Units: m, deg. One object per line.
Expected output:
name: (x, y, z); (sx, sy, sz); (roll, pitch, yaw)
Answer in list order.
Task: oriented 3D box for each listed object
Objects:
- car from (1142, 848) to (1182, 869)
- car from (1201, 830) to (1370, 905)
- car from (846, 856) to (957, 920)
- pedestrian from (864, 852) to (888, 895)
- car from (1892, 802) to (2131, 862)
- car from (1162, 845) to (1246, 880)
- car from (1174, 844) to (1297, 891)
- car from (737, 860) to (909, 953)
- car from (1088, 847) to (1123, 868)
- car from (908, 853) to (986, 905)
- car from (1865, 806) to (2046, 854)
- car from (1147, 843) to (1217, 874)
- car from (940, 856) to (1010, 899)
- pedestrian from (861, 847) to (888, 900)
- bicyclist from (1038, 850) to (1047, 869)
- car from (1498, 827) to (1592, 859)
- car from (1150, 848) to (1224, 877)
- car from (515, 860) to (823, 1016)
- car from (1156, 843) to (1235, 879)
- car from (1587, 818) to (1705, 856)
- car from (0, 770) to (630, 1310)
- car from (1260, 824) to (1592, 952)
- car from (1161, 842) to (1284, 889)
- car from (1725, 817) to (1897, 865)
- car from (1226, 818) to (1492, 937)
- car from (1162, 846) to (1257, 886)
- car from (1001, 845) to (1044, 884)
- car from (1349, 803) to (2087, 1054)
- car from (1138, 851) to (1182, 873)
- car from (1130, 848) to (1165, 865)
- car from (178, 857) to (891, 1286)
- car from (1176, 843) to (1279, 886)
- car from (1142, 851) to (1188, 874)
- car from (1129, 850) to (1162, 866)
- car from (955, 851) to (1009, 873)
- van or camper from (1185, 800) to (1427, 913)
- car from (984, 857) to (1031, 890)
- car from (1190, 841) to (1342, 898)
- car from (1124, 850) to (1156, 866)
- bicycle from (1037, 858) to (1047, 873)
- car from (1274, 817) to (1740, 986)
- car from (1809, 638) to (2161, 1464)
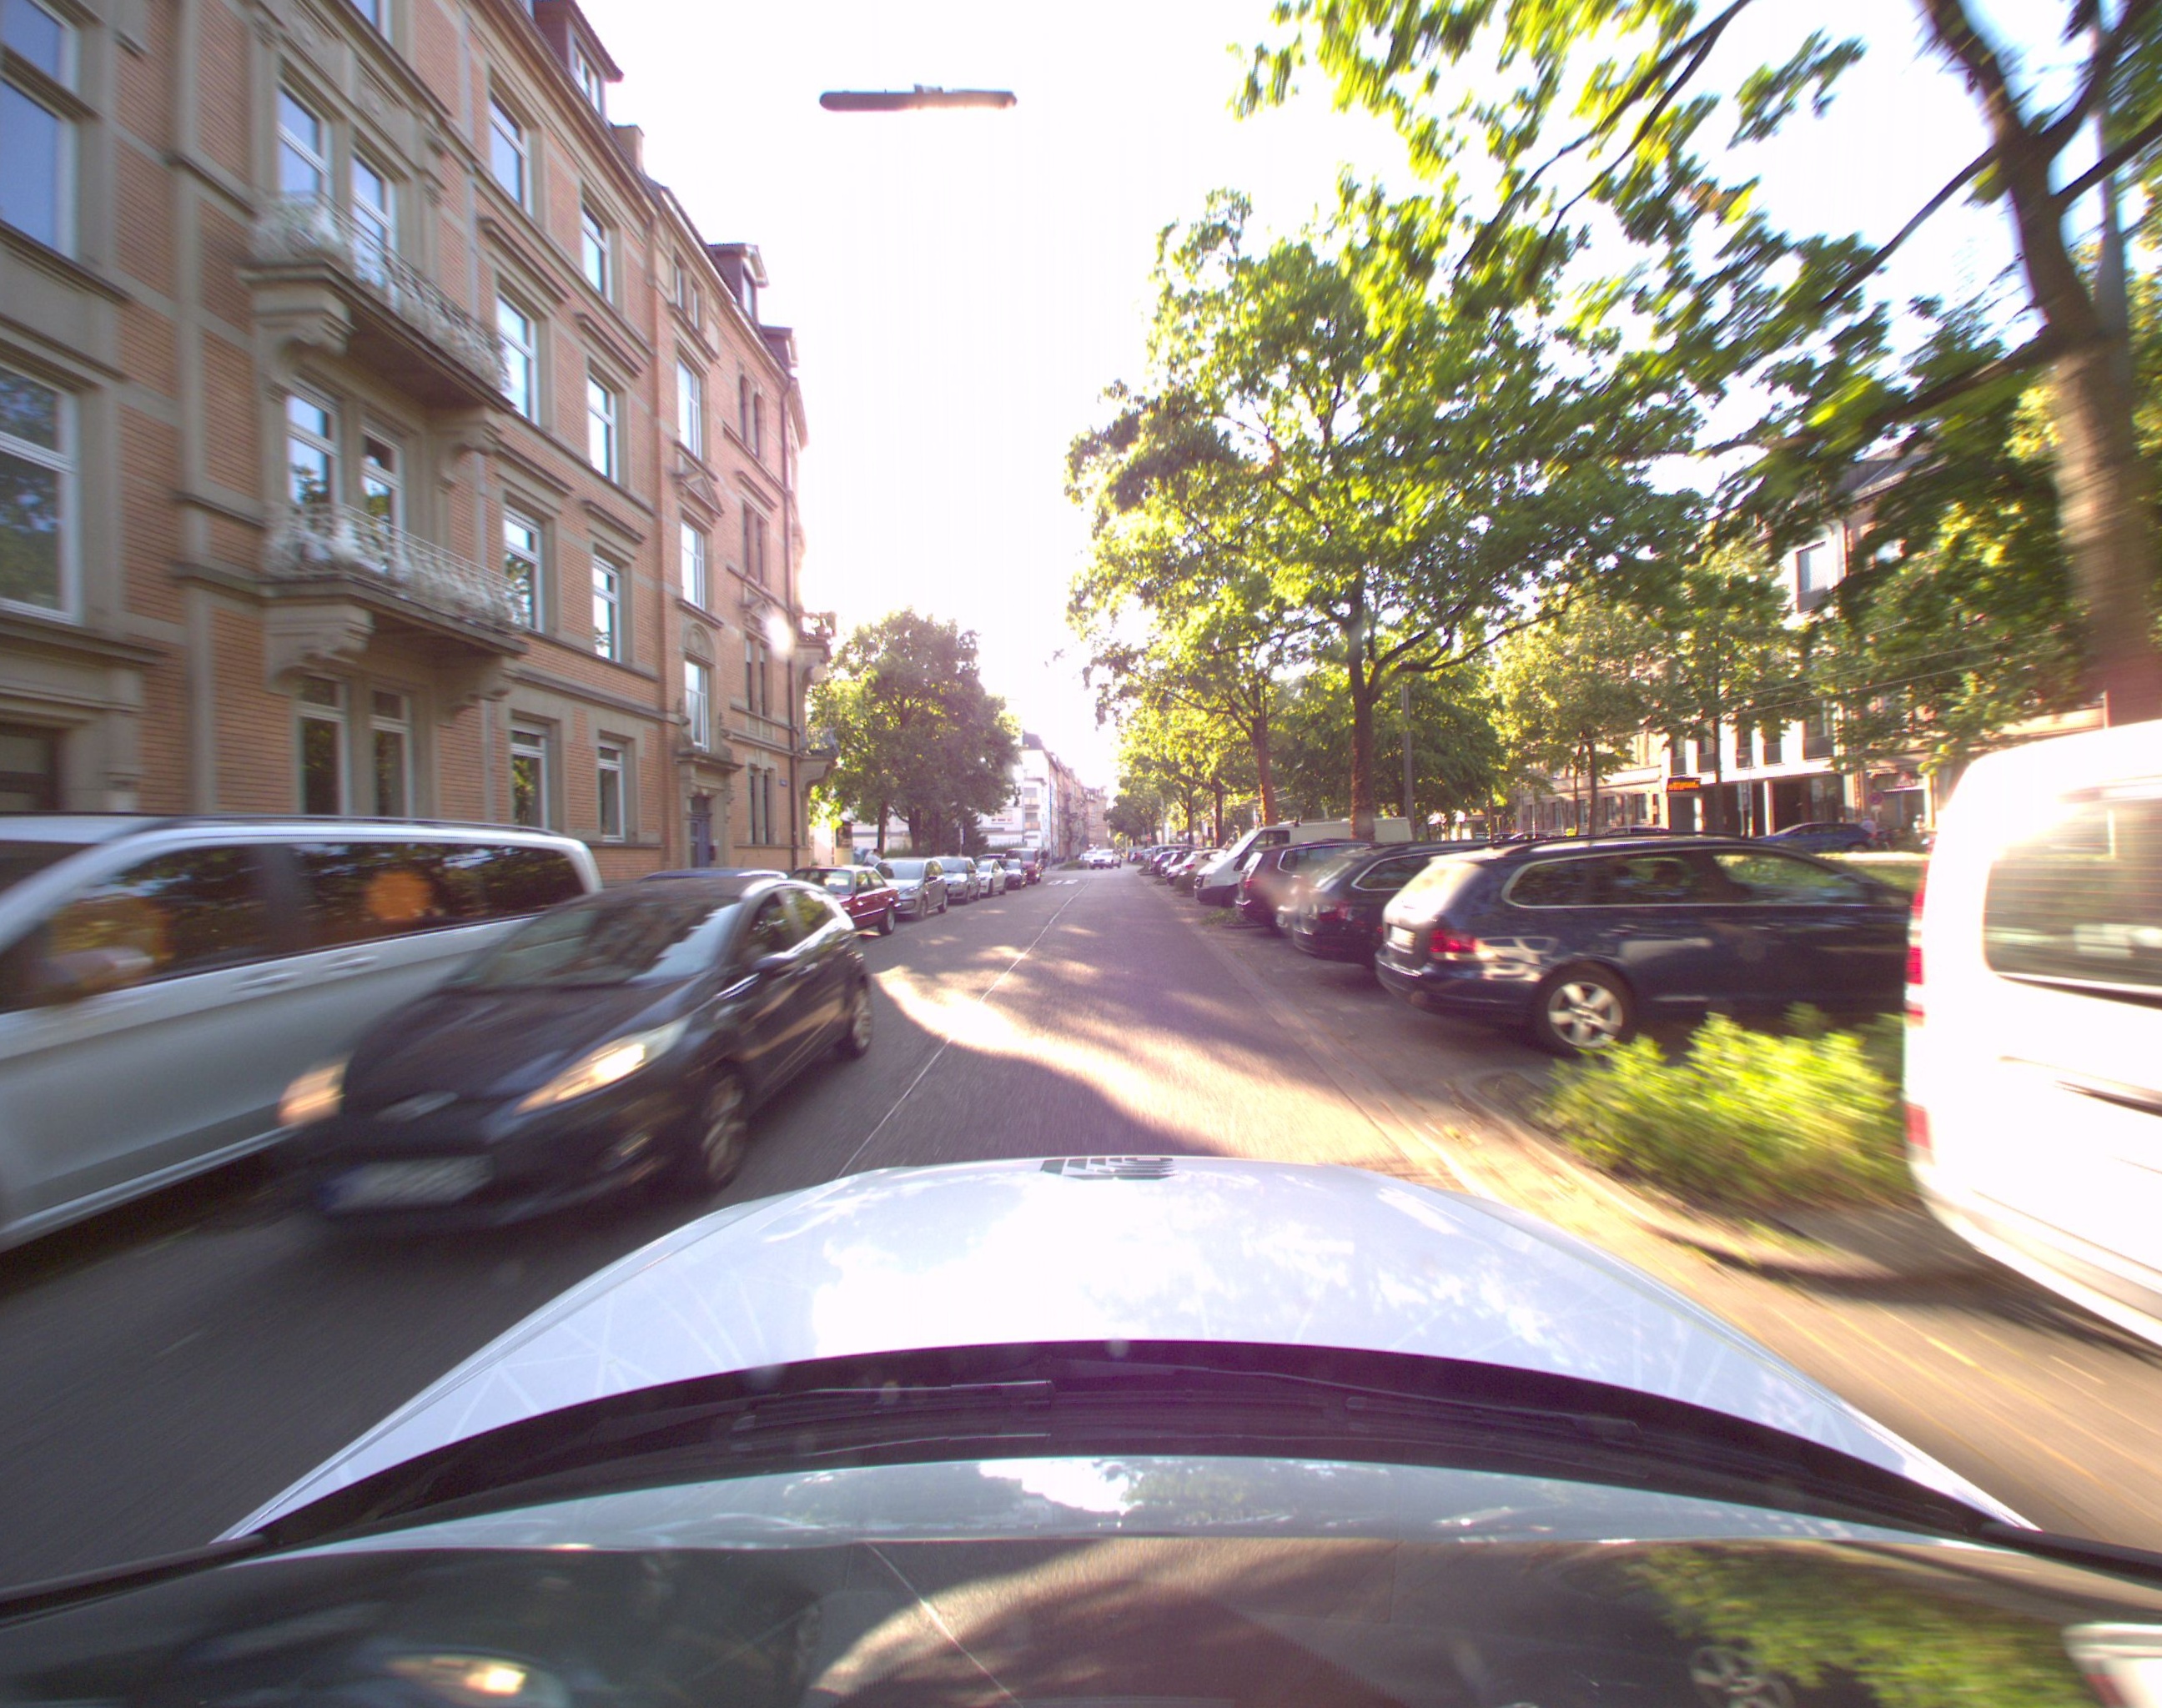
car: (8.589, 0.492, 86.241); (3.959, 2.014, 2.007); (-1, -2, 13)
car: (5.269, 0.336, 21.366); (3.975, 1.817, 1.858); (-1, 0, -1)
car: (-4.428, 0.792, 20.682); (1.696, 1.429, 3.881); (0, 0, 4)
pedestrian: (-7.585, 0.714, 30.125); (0.594, 1.550, 0.709); (-2, 2, 2)
car: (29.903, -0.640, 26.427); (4.656, 1.684, 2.011); (-2, -2, 25)
car: (6.231, 0.457, 41.428); (3.975, 1.699, 1.858); (-1, -2, -1)
car: (5.397, 0.488, 28.798); (3.975, 1.548, 1.858); (-1, -2, -1)
car: (-4.613, 0.869, 15.246); (1.663, 1.429, 4.244); (-1, 0, 3)
car: (2.126, 0.278, 68.902); (1.764, 1.674, 4.508); (-1, 0, 18)
car: (-4.271, 0.750, 26.562); (1.750, 1.515, 4.163); (-1, 0, 1)
car: (35.792, -0.935, 33.568); (1.995, 1.687, 4.719); (0, -2, -11)
car: (6.036, 0.284, 49.088); (3.975, 1.794, 1.858); (-1, -2, -1)
car: (-3.962, 0.844, 31.212); (1.748, 1.466, 4.274); (-1, 0, 5)
pedestrian: (-6.657, 0.618, 26.259); (0.594, 1.668, 0.709); (-2, 2, 2)
bicyclist: (-3.120, 0.453, 65.778); (0.625, 1.573, 0.802); (-1, -2, 1)
car: (27.313, -0.621, 48.115); (4.656, 1.684, 2.011); (-2, -2, 25)
car: (6.017, 0.495, 46.411); (3.975, 1.563, 1.858); (-1, -2, -1)
car: (-4.685, 0.846, 10.010); (1.663, 1.486, 4.001); (0, 0, 1)
car: (6.111, 0.374, 43.733); (3.975, 1.825, 1.858); (-1, -2, -1)
car: (28.676, -0.820, 41.525); (4.656, 1.684, 2.011); (-2, -2, 25)
car: (-4.817, 0.712, 4.278); (1.986, 1.921, 5.040); (-1, -2, 1)
car: (4.783, 0.456, 11.782); (3.970, 1.461, 1.861); (-4, 0, 3)
car: (5.395, 0.444, 31.417); (4.376, 1.699, 1.858); (-1, -2, -1)
car: (28.783, -0.463, 32.337); (4.656, 1.684, 2.011); (-2, -2, 25)
car: (4.698, 0.392, 14.249); (3.970, 1.691, 1.861); (-4, 0, 3)
car: (5.741, 0.535, 36.776); (3.975, 1.699, 1.858); (-1, -2, -1)
car: (-3.203, 0.541, 45.396); (1.950, 2.018, 4.270); (-1, 0, 2)
car: (4.438, 0.528, 6.277); (4.198, 1.453, 1.652); (-4, 0, 6)
car: (7.660, 0.760, 78.545); (3.959, 2.014, 2.007); (-1, -2, 13)
car: (8.185, 0.312, 99.705); (3.959, 2.014, 2.007); (-1, -2, 13)
car: (-2.479, 0.805, 5.015); (1.663, 1.464, 3.998); (-3, 0, -1)
car: (6.082, 0.458, 34.110); (3.975, 1.699, 1.858); (-1, -2, -1)
car: (7.776, 0.809, 74.998); (3.959, 2.014, 2.007); (-1, -2, 13)
car: (8.451, 0.493, 106.561); (3.959, 2.014, 2.007); (-1, -2, 13)
car: (-7.968, 0.660, 65.943); (3.970, 1.706, 2.001); (-1, -2, 3)
van or camper: (5.030, 0.079, 18.806); (4.965, 2.377, 2.185); (-1, -2, 0)
car: (-3.543, 0.911, 39.865); (1.749, 1.466, 4.270); (-1, 0, 2)
car: (5.305, 0.462, 23.739); (3.975, 1.548, 1.858); (-1, -2, -1)
car: (8.016, 0.595, 110.110); (3.959, 2.014, 2.007); (-1, -2, 13)
bicycle: (-3.116, 0.936, 65.721); (0.639, 1.100, 1.944); (-1, -2, 1)
car: (4.503, 0.488, 9.173); (4.202, 1.453, 1.866); (-4, 0, 3)
car: (4.499, 0.326, 1.705); (4.202, 1.864, 1.763); (-4, 0, 3)
